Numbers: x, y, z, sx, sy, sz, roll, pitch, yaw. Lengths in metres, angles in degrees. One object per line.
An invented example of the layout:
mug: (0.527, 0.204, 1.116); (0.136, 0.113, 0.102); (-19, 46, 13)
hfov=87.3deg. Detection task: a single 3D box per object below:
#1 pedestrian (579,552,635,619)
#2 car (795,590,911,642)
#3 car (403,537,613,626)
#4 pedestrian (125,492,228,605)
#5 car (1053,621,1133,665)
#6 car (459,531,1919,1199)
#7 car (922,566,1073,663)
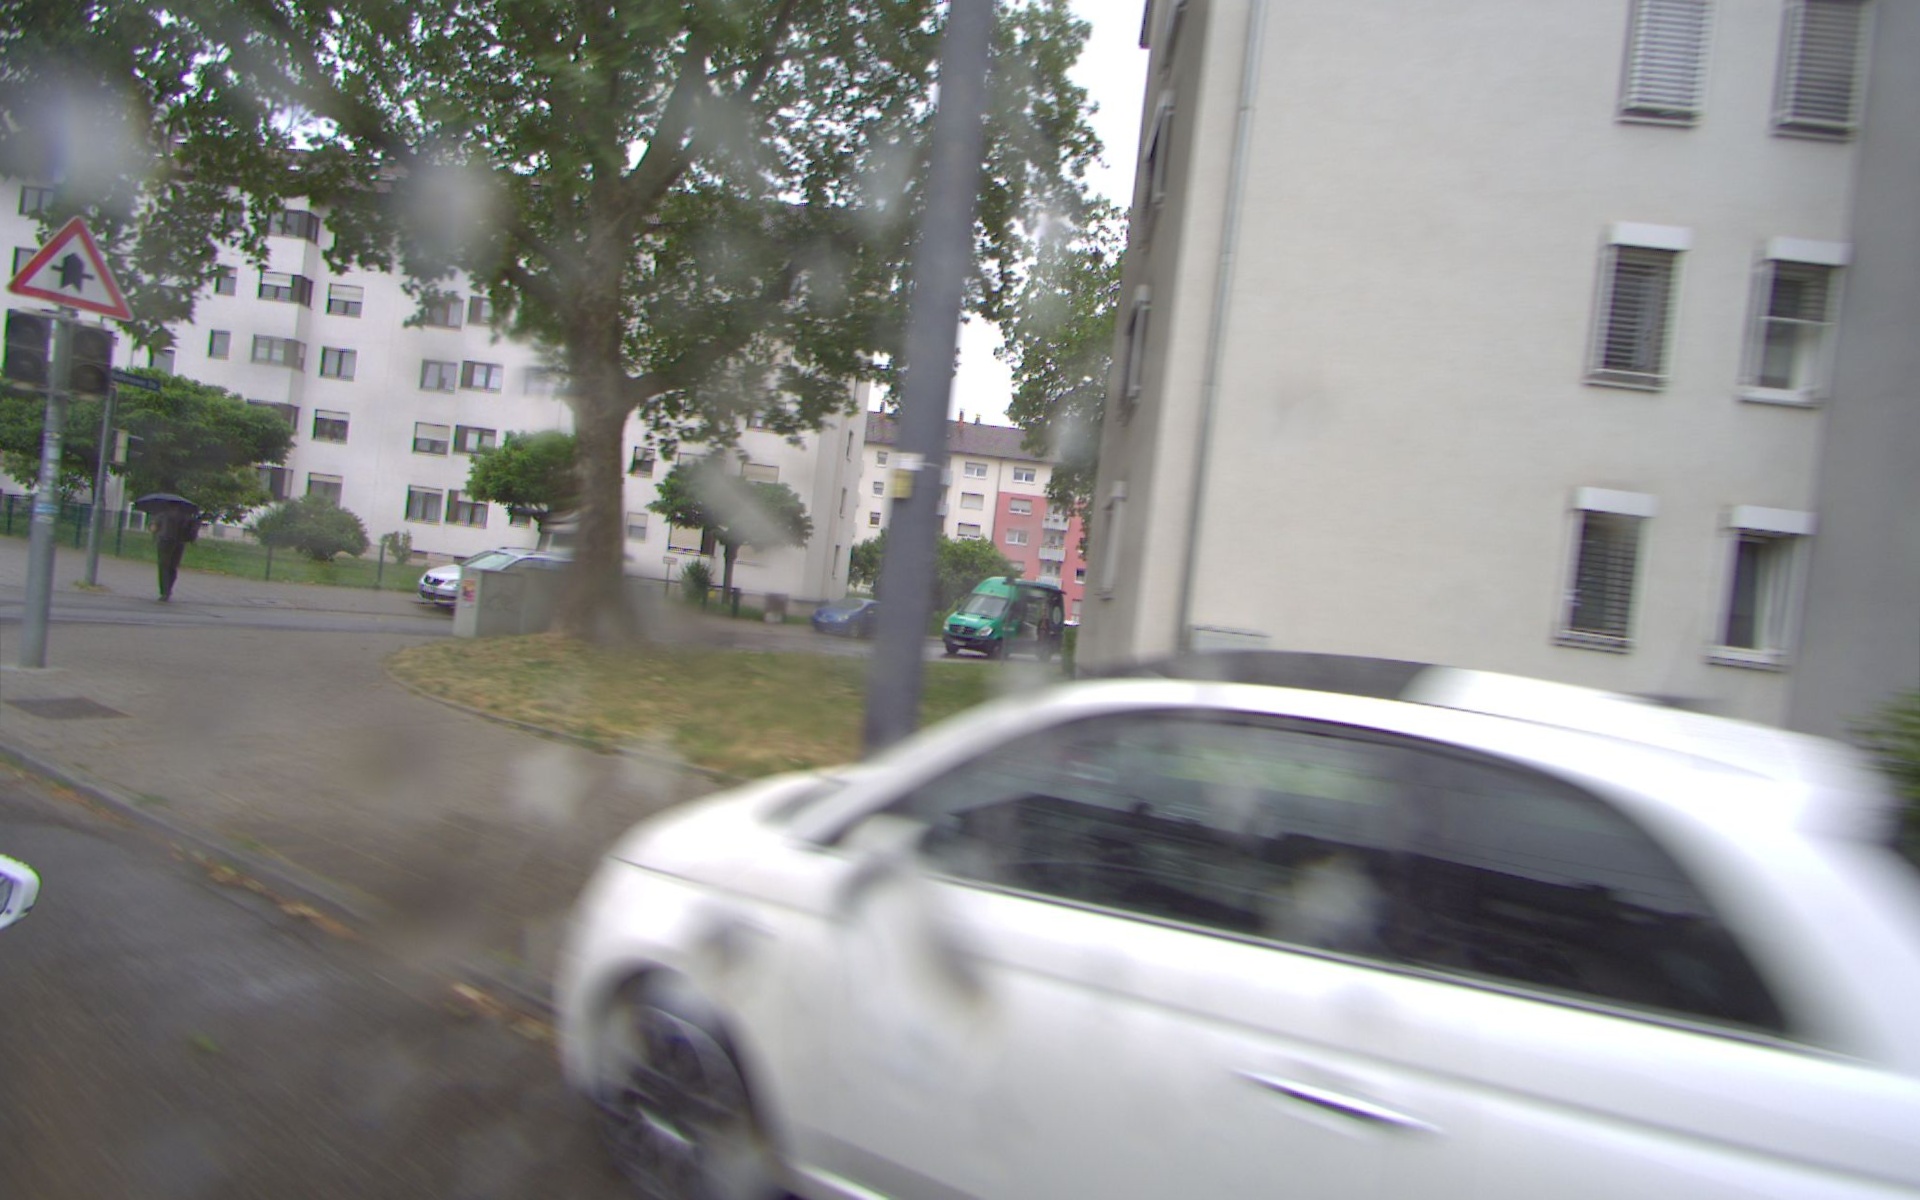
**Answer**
pedestrian: (-10.304, -0.406, 29.385); (0.708, 1.791, 1.180); (7, 1, 29)
car: (-3.887, 0.626, 37.227); (1.906, 1.524, 4.296); (7, 0, 33)
car: (-10.958, -0.397, 24.695); (1.841, 1.701, 4.296); (7, 0, 33)
pedestrian: (-14.130, -0.931, 18.131); (1.414, 1.836, 1.097); (7, 1, 42)
car: (5.738, 1.870, 43.076); (1.712, 1.524, 3.996); (7, 0, 33)
car: (0.792, 0.829, 2.430); (3.932, 1.538, 1.560); (7, 1, 29)
car: (1.454, 0.604, 35.229); (2.152, 2.813, 6.123); (7, 0, 33)
